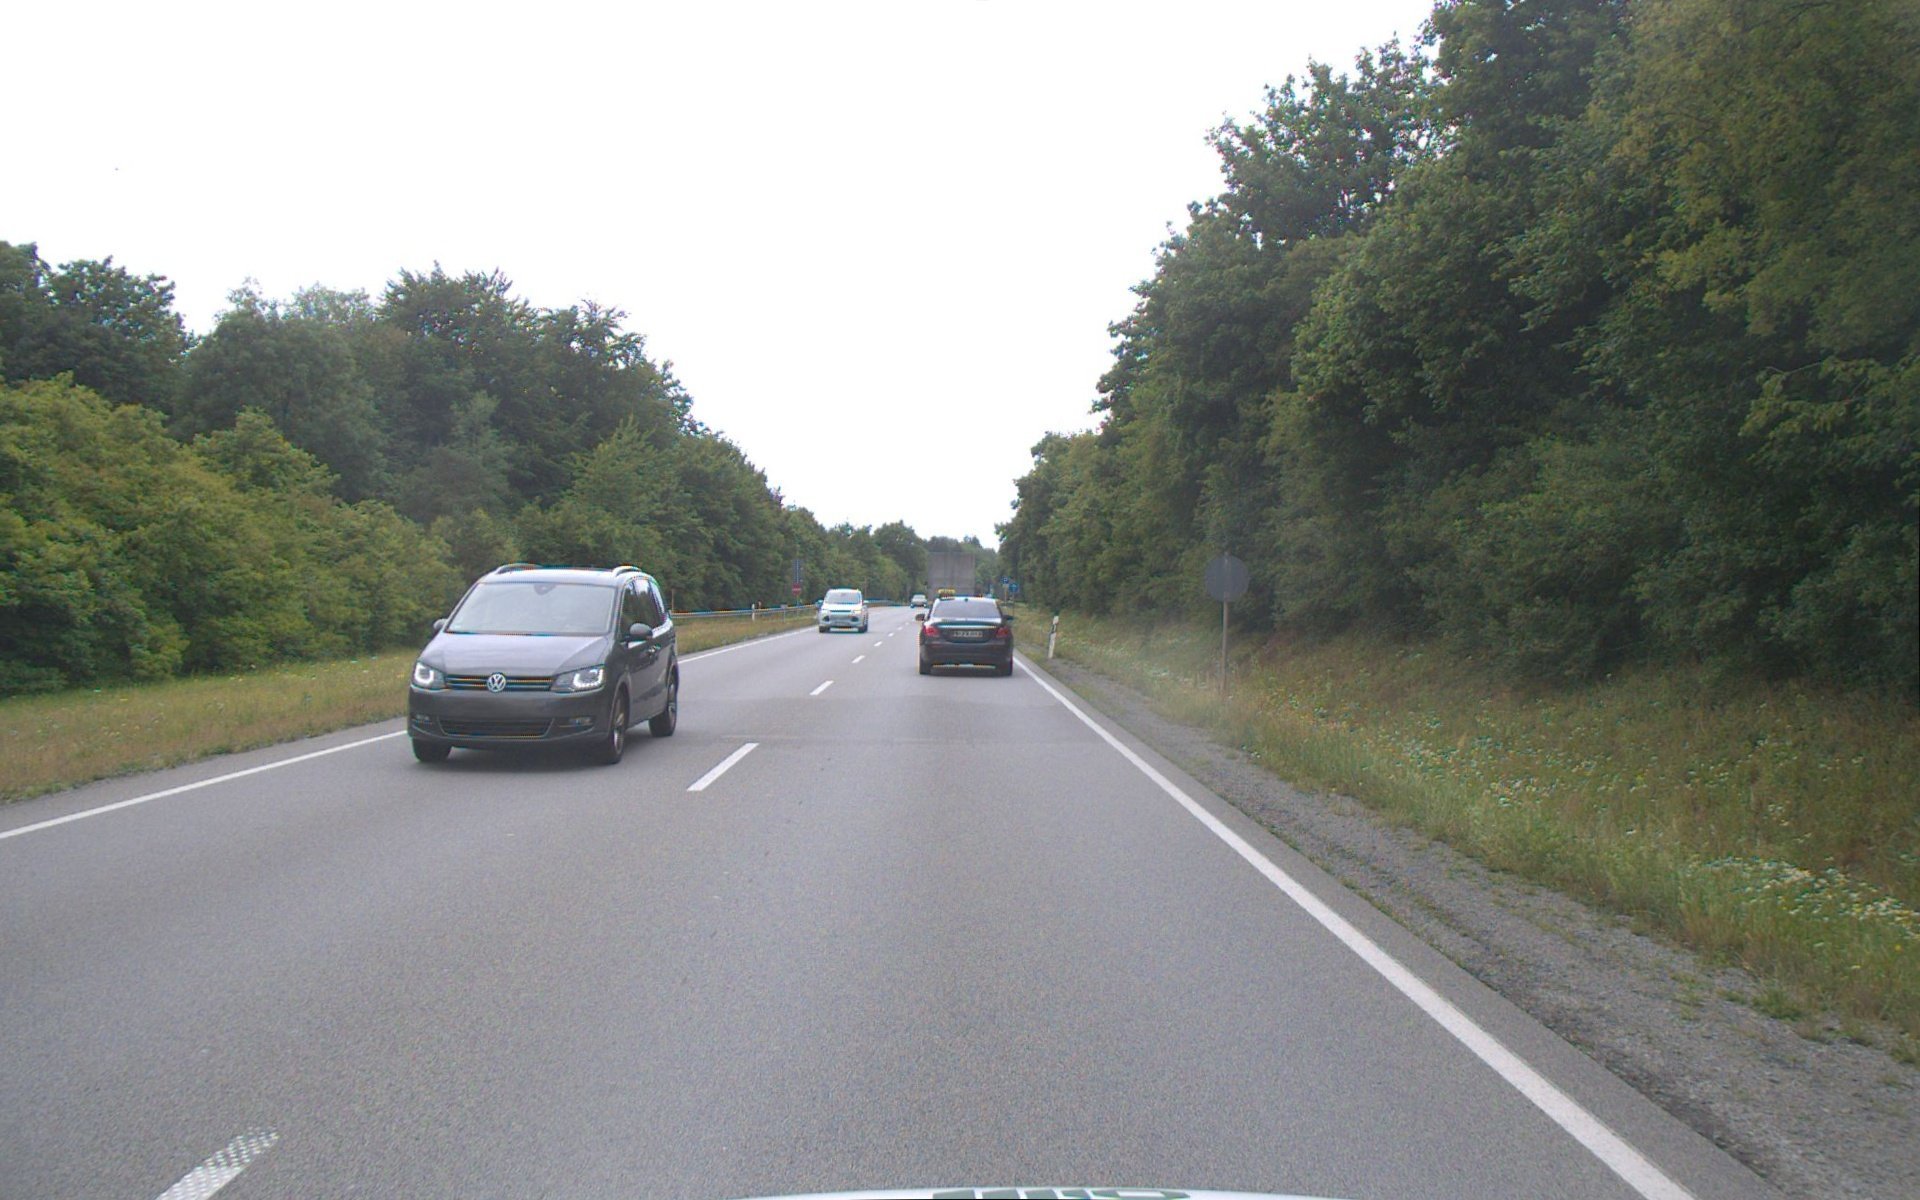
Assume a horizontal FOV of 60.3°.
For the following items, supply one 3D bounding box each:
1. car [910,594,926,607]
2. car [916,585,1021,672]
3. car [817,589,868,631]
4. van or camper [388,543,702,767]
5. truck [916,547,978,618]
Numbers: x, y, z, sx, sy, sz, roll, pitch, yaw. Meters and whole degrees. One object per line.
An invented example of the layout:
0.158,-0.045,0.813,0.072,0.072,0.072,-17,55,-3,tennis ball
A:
-4.889,0.081,191.657,1.772,1.467,4.446,1,0,-2,car
0.112,0.526,32.550,1.756,1.579,3.997,1,0,-4,car
-4.688,0.392,66.333,1.837,1.587,3.754,1,0,-1,car
-3.757,0.451,15.835,1.953,1.814,4.421,1,0,-1,van or camper
-0.667,-0.924,92.446,3.214,3.675,11.399,1,0,0,truck
